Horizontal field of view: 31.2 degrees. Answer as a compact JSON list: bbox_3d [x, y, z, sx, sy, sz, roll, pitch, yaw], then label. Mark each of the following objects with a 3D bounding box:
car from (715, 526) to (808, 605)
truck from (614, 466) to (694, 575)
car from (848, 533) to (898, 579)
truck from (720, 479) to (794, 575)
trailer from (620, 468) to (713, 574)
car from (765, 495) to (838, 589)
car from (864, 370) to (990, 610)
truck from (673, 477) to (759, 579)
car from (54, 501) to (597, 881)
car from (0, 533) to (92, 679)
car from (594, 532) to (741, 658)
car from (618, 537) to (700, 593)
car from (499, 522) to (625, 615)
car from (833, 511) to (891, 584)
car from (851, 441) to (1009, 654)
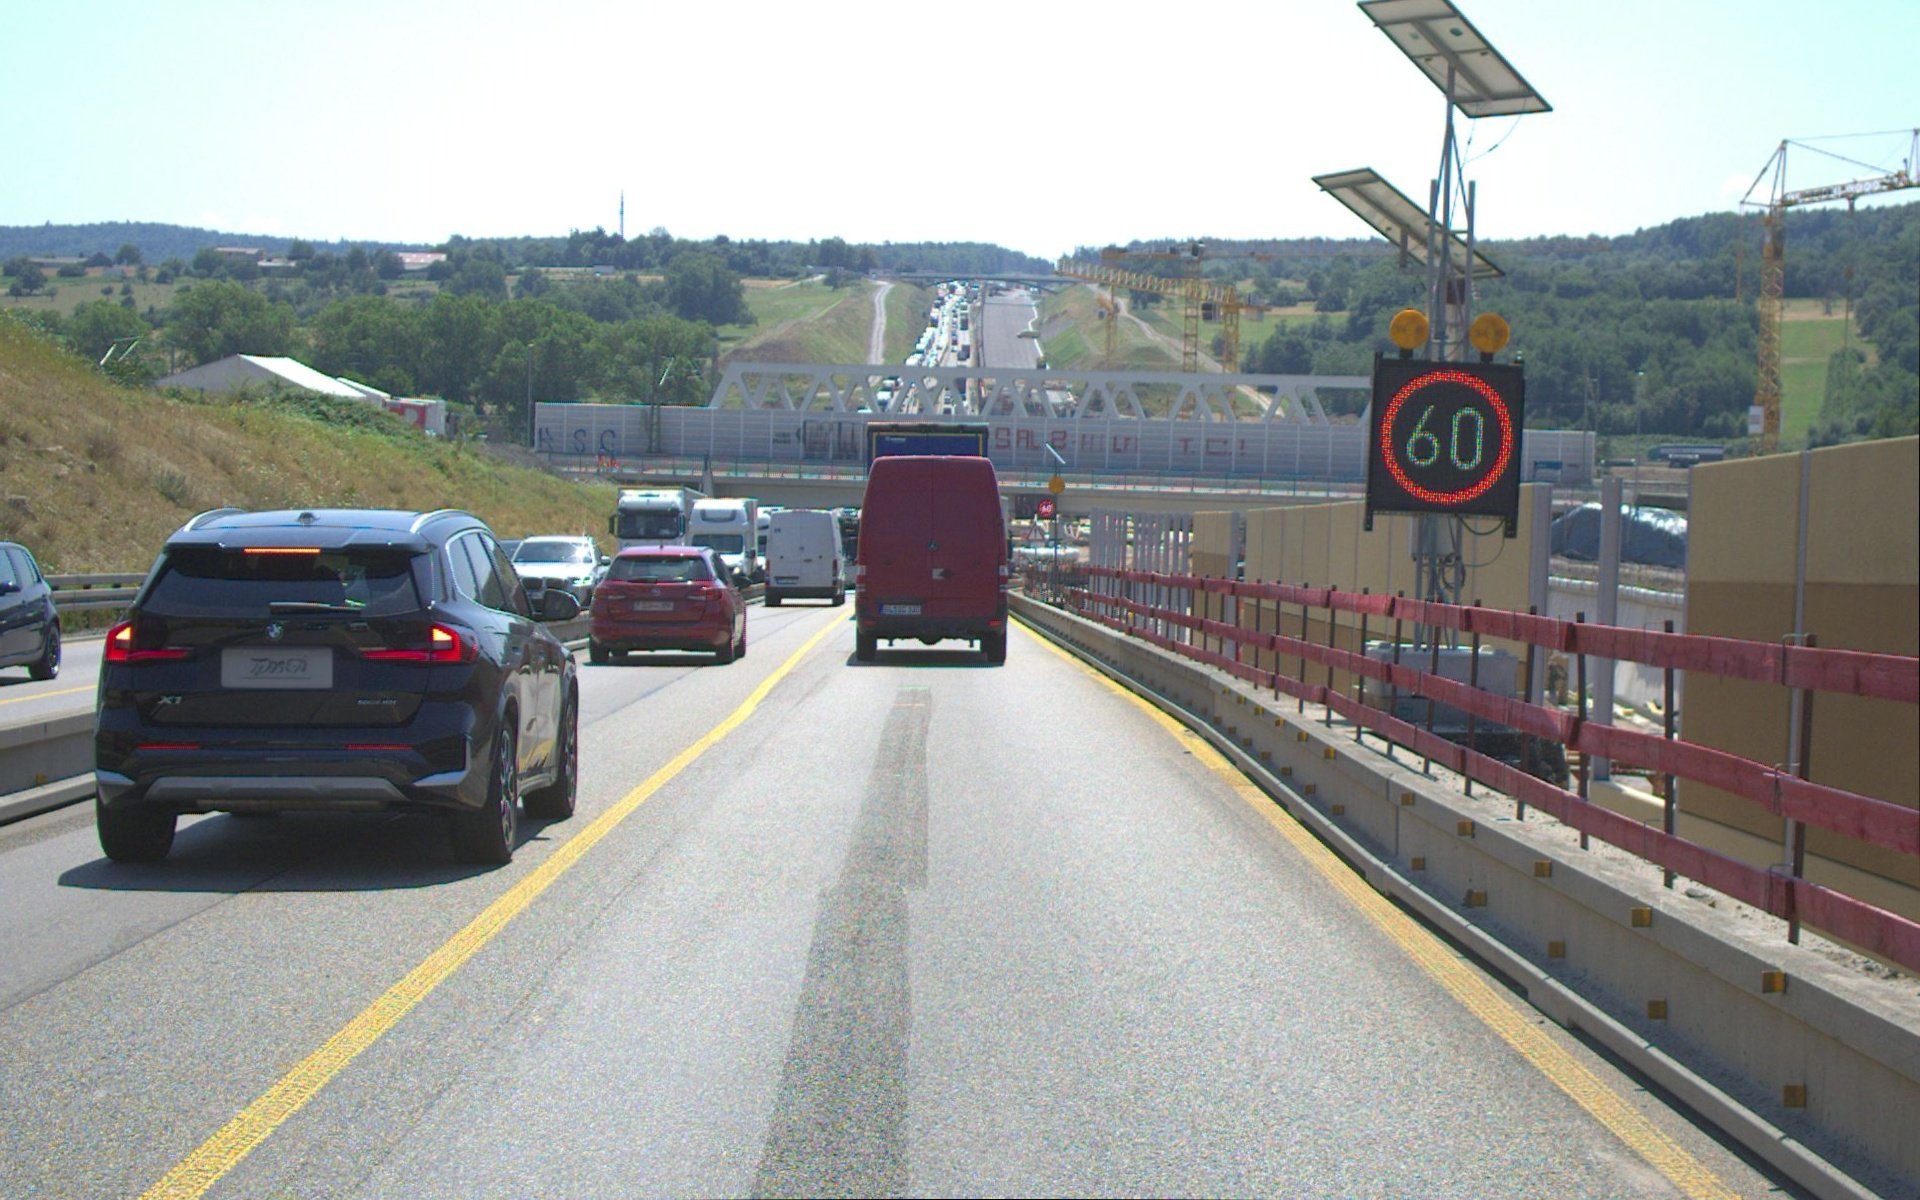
[{"bbox_3d":[-4.271,-0.768,74.528,1.839,1.648,4.165,0,1,-1],"label":"car"},{"bbox_3d":[-11.612,-3.031,130.755,2.698,4.036,3.955,1,1,-1],"label":"truck"},{"bbox_3d":[-3.149,-1.617,125.087,1.776,1.664,4.029,0,1,-1],"label":"car"},{"bbox_3d":[-8.172,-2.953,139.187,2.589,3.745,7.359,1,1,-1],"label":"truck"},{"bbox_3d":[-11.723,-3.161,138.363,2.698,4.011,13.703,1,1,-1],"label":"trailer"},{"bbox_3d":[-4.183,-1.552,91.389,1.776,2.433,4.206,0,1,-1],"label":"car"},{"bbox_3d":[-0.745,-2.409,77.443,2.621,5.015,10.397,0,1,-1],"label":"car"},{"bbox_3d":[-8.422,-2.489,119.175,2.538,3.362,7.038,1,1,-1],"label":"truck"},{"bbox_3d":[-2.940,0.346,16.900,1.879,1.612,4.499,0,1,-1],"label":"car"},{"bbox_3d":[-10.258,0.024,35.186,1.710,1.413,4.243,0,1,-1],"label":"car"},{"bbox_3d":[-3.719,-0.100,43.555,1.775,1.512,4.207,0,1,-5],"label":"car"},{"bbox_3d":[-7.924,-0.952,90.763,1.797,1.422,4.950,0,1,-1],"label":"car"},{"bbox_3d":[-7.436,-0.609,64.575,1.845,1.660,4.689,1,1,-1],"label":"car"},{"bbox_3d":[-3.176,-1.713,111.953,1.776,2.322,4.206,0,1,-1],"label":"car"},{"bbox_3d":[-0.401,-0.706,45.602,1.988,2.681,4.624,0,1,-1],"label":"car"}]
